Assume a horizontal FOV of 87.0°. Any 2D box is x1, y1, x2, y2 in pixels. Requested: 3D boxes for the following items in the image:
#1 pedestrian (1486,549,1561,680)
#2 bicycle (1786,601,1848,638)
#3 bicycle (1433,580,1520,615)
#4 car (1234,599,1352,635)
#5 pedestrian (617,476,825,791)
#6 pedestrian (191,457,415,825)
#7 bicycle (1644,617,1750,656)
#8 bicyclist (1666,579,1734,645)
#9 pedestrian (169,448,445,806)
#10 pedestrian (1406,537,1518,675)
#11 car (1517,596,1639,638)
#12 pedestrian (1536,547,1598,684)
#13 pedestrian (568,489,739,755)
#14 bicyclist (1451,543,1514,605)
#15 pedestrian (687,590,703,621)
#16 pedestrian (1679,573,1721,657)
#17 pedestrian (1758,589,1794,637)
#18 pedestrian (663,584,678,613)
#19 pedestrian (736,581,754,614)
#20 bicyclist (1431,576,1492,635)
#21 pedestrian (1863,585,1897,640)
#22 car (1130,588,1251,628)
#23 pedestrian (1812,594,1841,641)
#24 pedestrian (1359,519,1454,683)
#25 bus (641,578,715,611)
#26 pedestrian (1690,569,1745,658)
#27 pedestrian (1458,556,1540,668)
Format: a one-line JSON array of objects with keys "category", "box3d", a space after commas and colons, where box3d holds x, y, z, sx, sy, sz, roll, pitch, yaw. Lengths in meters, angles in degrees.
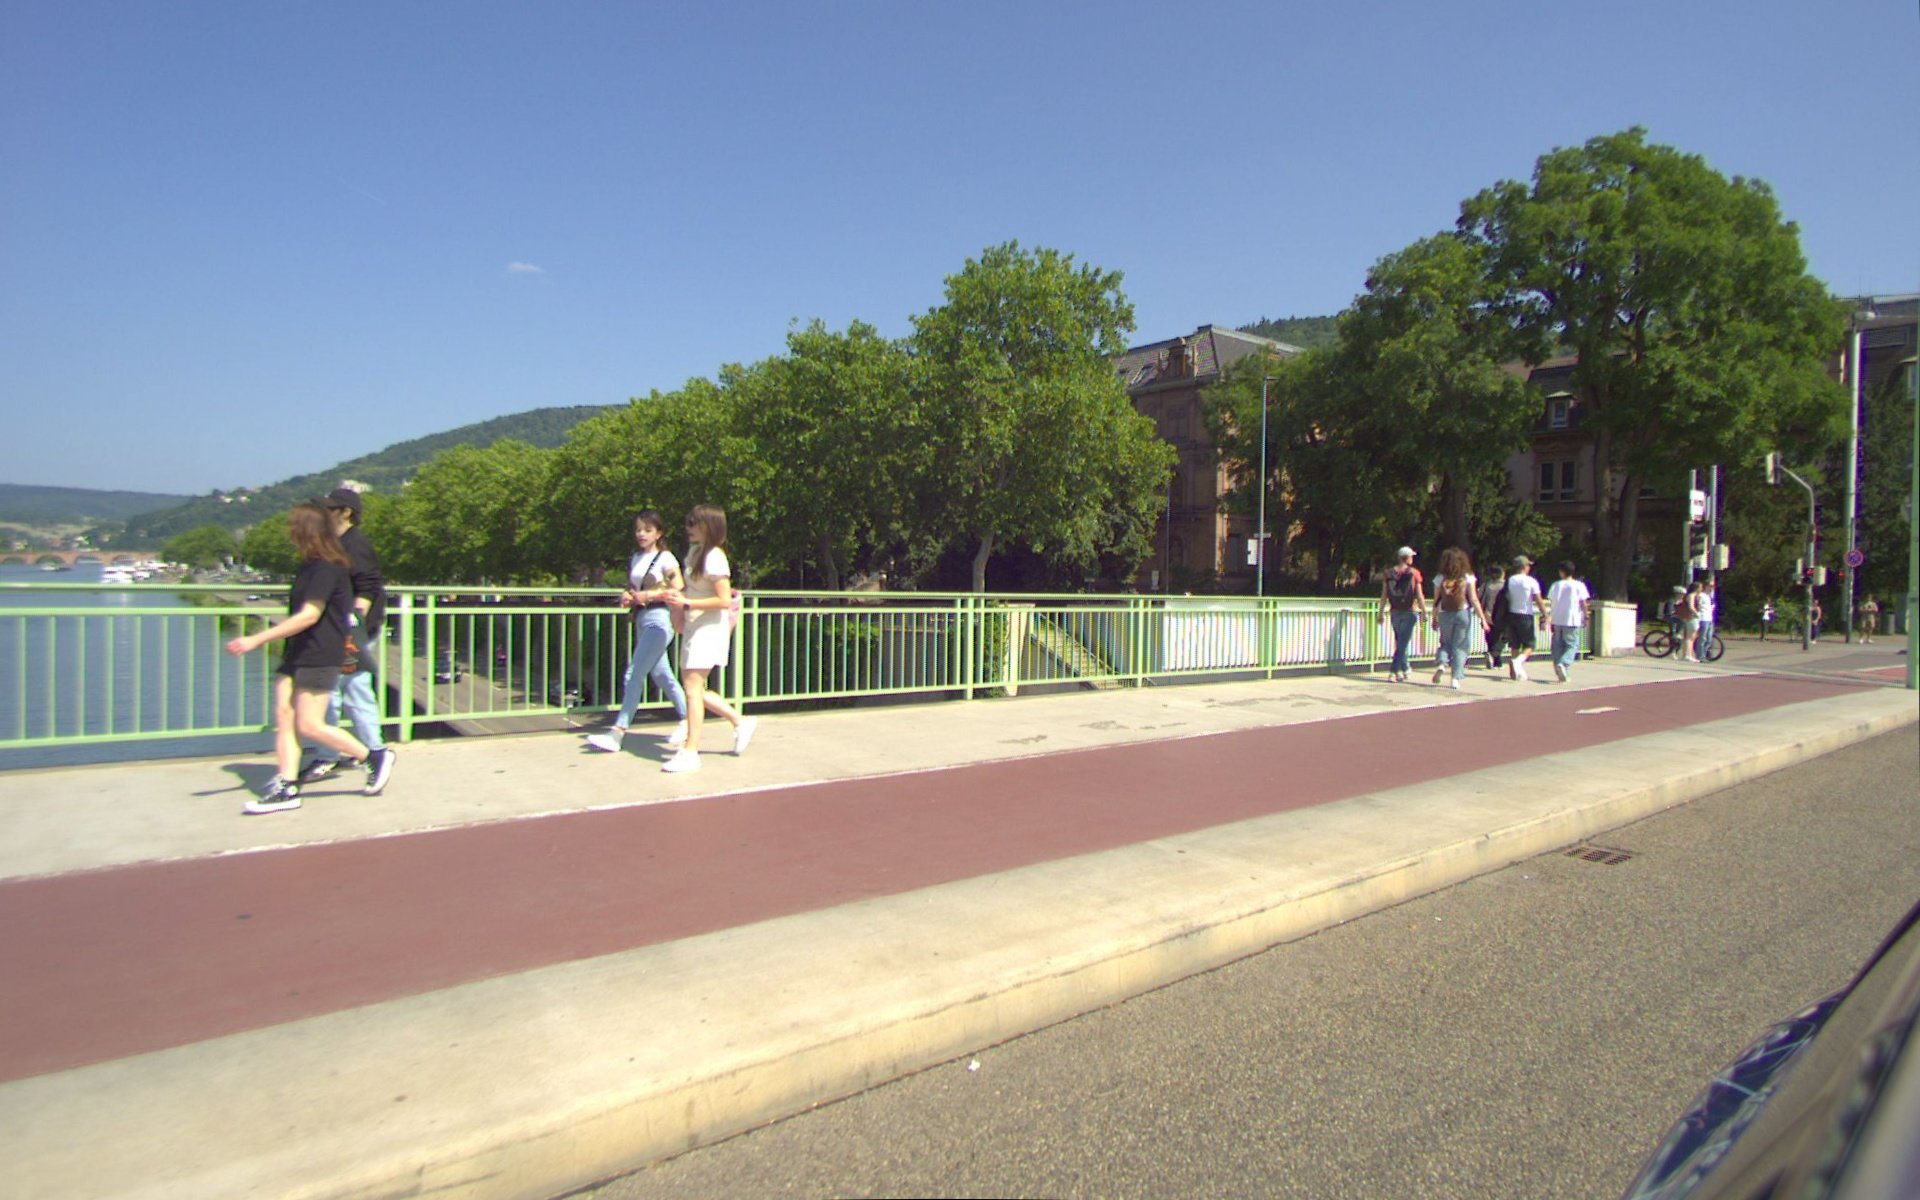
[{"category": "pedestrian", "box3d": [7.765, 0.180, 13.950, 0.719, 1.738, 0.696, -1, 2, -43]}, {"category": "bicycle", "box3d": [33.219, 0.751, 39.220, 2.227, 1.219, 0.805, -3, 5, -20]}, {"category": "bicycle", "box3d": [12.965, -0.067, 25.468, 0.554, 0.837, 1.946, 1, 0, -32]}, {"category": "car", "box3d": [14.239, 0.686, 43.429, 4.470, 1.397, 1.819, 1, 0, 43]}, {"category": "pedestrian", "box3d": [-1.513, 0.168, 6.373, 0.914, 1.772, 0.986, -1, 2, -43]}, {"category": "pedestrian", "box3d": [-3.318, 0.171, 5.123, 0.854, 1.670, 0.655, -1, 2, -43]}, {"category": "bicycle", "box3d": [17.231, 0.830, 23.717, 0.554, 0.837, 1.946, 1, 0, -32]}, {"category": "bicyclist", "box3d": [17.297, 0.266, 23.669, 0.785, 1.492, 1.084, 1, 0, -33]}, {"category": "pedestrian", "box3d": [-3.764, 0.116, 5.833, 1.232, 1.791, 0.987, 0, 2, -39]}, {"category": "pedestrian", "box3d": [6.270, 0.048, 12.651, 0.906, 1.635, 0.986, -1, 2, -43]}, {"category": "car", "box3d": [24.433, 0.631, 40.064, 3.970, 1.535, 1.910, 1, 0, 37]}, {"category": "pedestrian", "box3d": [8.318, 0.192, 13.870, 0.635, 1.821, 0.549, -1, 2, -43]}, {"category": "pedestrian", "box3d": [-2.138, 0.122, 7.055, 0.871, 1.697, 0.835, -1, 2, -43]}, {"category": "bicyclist", "box3d": [13.092, -0.633, 25.366, 0.909, 1.492, 1.084, 1, 0, -31]}, {"category": "pedestrian", "box3d": [-15.854, 0.314, 60.557, 0.665, 1.798, 0.741, 1, 0, -43]}, {"category": "pedestrian", "box3d": [15.893, 0.309, 21.736, 0.566, 1.782, 0.536, 1, 0, -34]}, {"category": "pedestrian", "box3d": [31.989, 0.488, 39.685, 1.054, 1.802, 0.693, 1, 4, 37]}, {"category": "pedestrian", "box3d": [-18.533, -0.093, 64.735, 0.665, 1.798, 0.741, 1, 0, -43]}, {"category": "pedestrian", "box3d": [-11.556, -0.139, 54.333, 0.665, 1.798, 0.741, 1, 0, -43]}, {"category": "bicyclist", "box3d": [13.090, 0.134, 26.433, 0.909, 1.492, 1.084, 1, 0, -29]}, {"category": "pedestrian", "box3d": [34.842, 0.457, 38.323, 1.041, 2.038, 0.776, 0, 2, -42]}, {"category": "car", "box3d": [9.240, 0.287, 40.747, 4.468, 1.466, 1.819, 1, 0, 42]}, {"category": "pedestrian", "box3d": [33.131, 0.652, 38.701, 0.877, 1.731, 0.675, 0, 2, -41]}, {"category": "pedestrian", "box3d": [5.833, -0.003, 13.216, 0.938, 2.038, 0.804, -1, 2, -43]}, {"category": "bus", "box3d": [-26.780, -0.583, 95.906, 3.058, 2.817, 8.835, -1, 2, -43]}, {"category": "pedestrian", "box3d": [16.374, 0.284, 21.887, 0.632, 1.879, 0.776, 1, 0, -34]}, {"category": "pedestrian", "box3d": [8.302, 0.160, 15.599, 0.933, 1.655, 0.800, 0, 2, -40]}]
